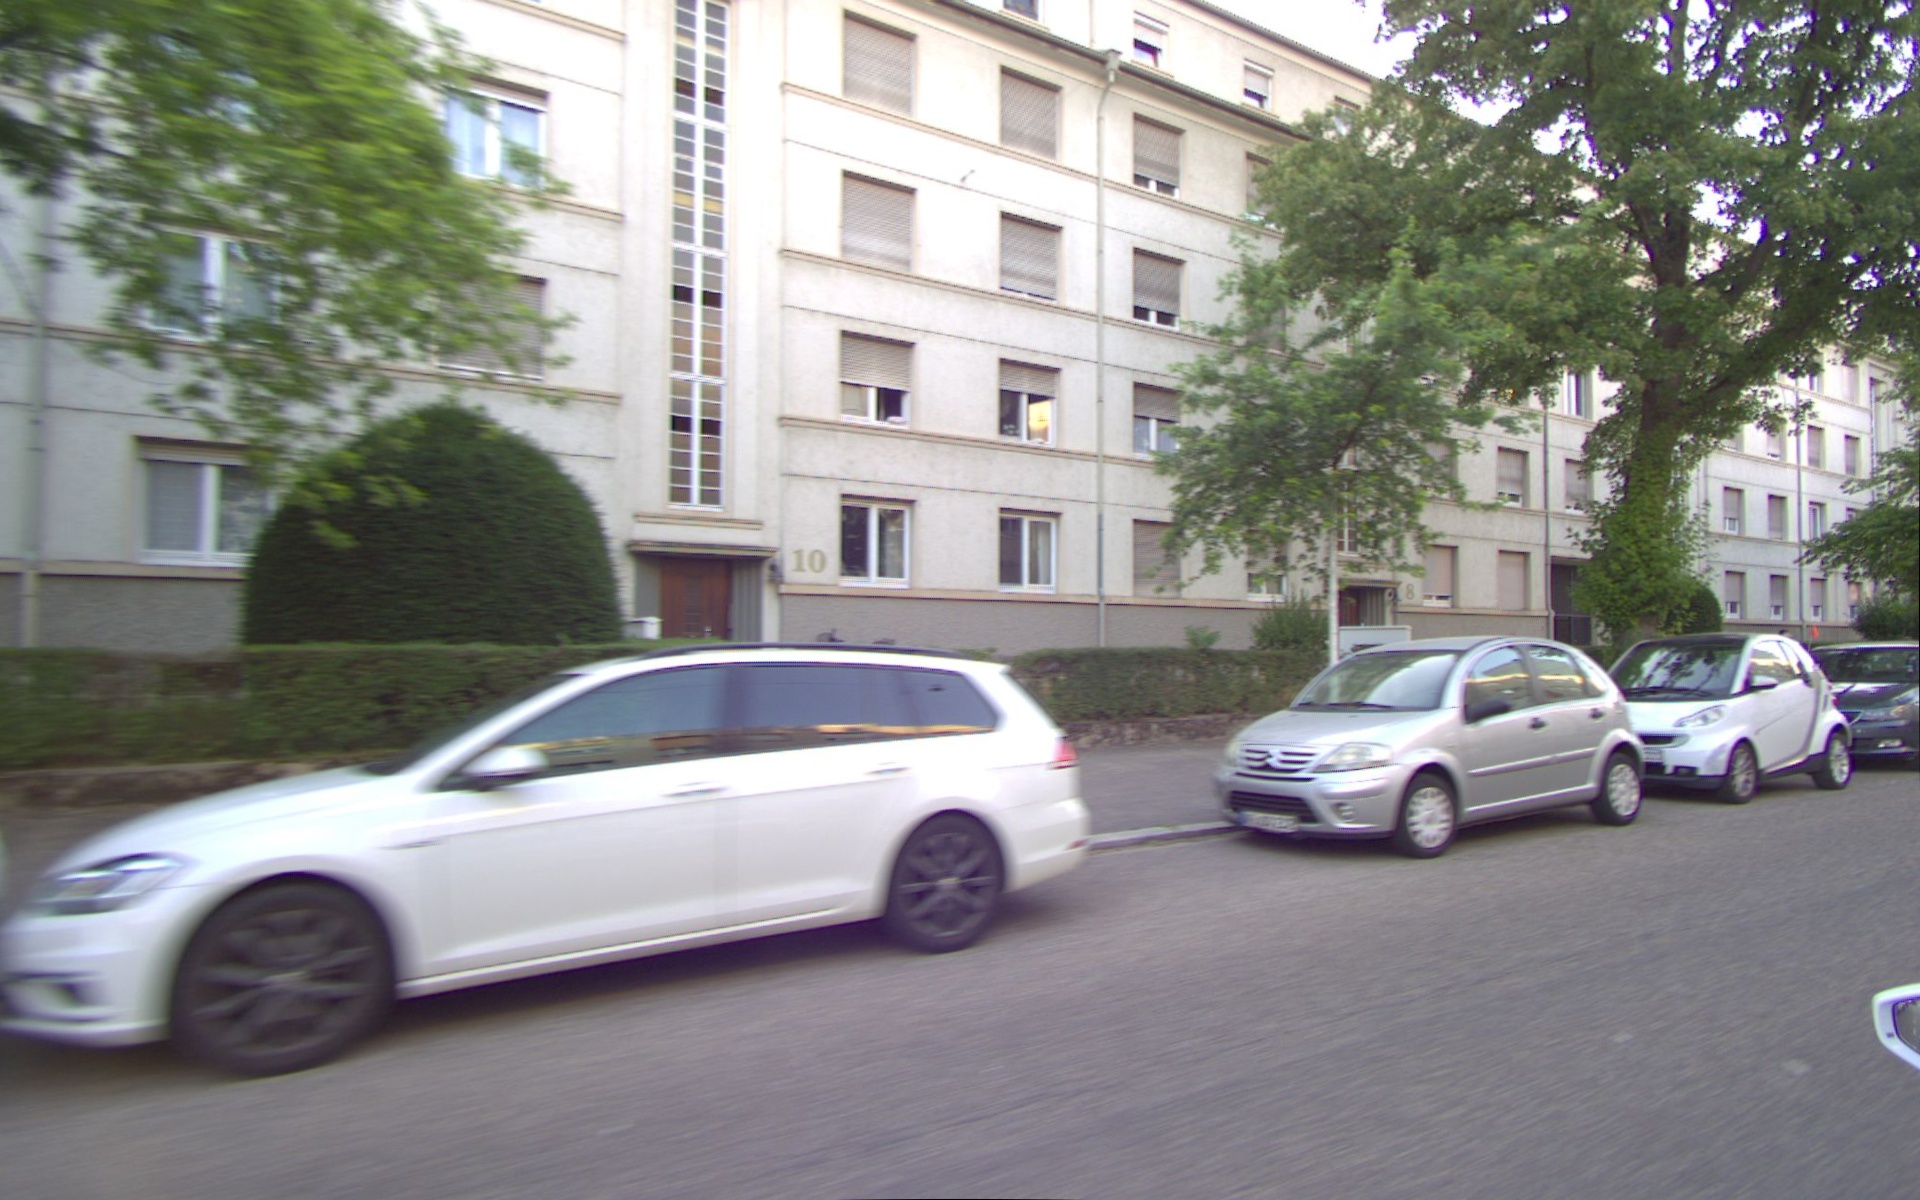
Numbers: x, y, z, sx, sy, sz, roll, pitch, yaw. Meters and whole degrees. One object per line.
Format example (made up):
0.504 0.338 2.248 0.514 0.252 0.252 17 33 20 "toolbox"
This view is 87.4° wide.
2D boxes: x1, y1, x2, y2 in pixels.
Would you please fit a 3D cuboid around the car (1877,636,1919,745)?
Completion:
15.158 1.295 14.827 3.129 1.548 1.516 2 -6 -32 "car"

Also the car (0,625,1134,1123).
-1.431 0.940 4.864 4.431 1.478 1.685 2 -6 -31 "car"

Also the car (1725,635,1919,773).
11.463 1.239 12.603 4.057 1.485 1.582 2 -6 -32 "car"

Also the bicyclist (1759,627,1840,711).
14.591 1.178 17.466 0.962 1.422 0.804 1 -2 -30 "bicyclist"

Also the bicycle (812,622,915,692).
-1.762 1.040 18.453 1.794 1.246 0.554 1 -2 -28 "bicycle"

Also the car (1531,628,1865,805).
7.492 1.118 10.210 2.885 1.548 1.585 1 -5 -28 "car"

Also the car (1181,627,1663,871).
3.722 1.049 7.979 3.755 1.524 1.583 2 -5 -31 "car"
